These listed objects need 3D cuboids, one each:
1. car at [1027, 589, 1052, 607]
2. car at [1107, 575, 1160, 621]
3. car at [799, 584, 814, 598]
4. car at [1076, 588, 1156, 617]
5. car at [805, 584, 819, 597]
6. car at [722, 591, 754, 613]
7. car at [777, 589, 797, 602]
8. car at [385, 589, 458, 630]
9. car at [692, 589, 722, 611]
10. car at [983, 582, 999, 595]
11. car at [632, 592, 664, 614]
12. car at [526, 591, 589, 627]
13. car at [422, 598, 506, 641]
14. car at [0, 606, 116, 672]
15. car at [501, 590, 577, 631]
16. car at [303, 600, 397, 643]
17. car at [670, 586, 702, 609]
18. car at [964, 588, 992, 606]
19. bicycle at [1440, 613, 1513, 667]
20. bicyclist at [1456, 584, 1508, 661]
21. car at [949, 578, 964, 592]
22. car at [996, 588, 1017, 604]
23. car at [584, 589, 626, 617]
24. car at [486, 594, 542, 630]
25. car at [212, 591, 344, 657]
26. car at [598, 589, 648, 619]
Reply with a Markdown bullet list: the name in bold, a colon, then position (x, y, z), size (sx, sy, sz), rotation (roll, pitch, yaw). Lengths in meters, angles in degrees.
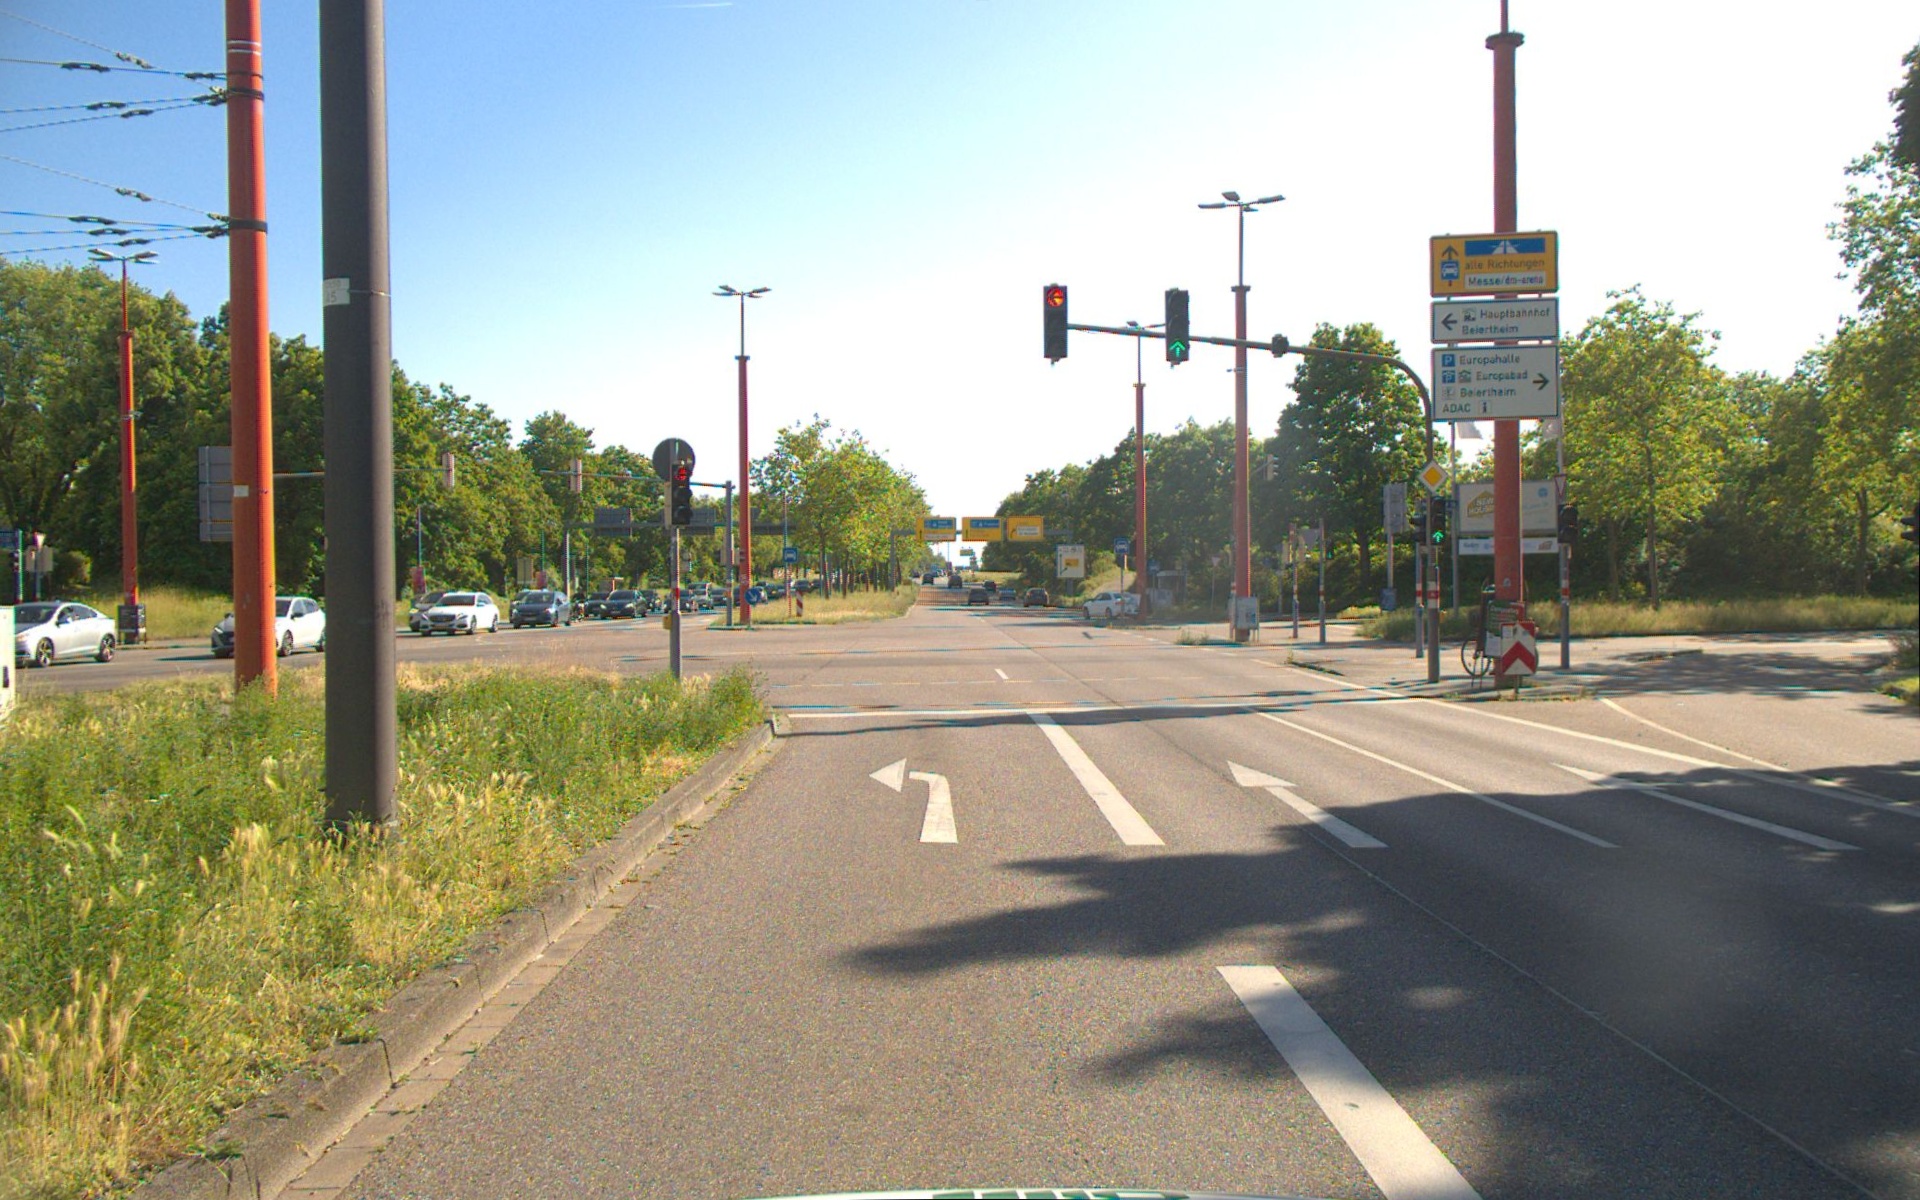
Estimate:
- **car**: position (6.129, -0.178, 127.356), size (1.702, 1.365, 3.081), rotation (0, 0, -1)
- **car**: position (7.419, -0.098, 70.513), size (1.951, 1.920, 4.004), rotation (0, 0, 10)
- **car**: position (-19.299, -1.152, 208.360), size (1.592, 1.769, 4.000), rotation (0, 0, 0)
- **car**: position (7.824, 0.102, 83.485), size (2.030, 1.395, 4.353), rotation (-1, 0, -27)
- **car**: position (-20.473, -1.309, 228.909), size (1.623, 1.778, 4.000), rotation (1, 0, 0)
- **car**: position (-15.576, 0.138, 116.146), size (1.666, 1.446, 3.999), rotation (3, 0, -1)
- **car**: position (-18.589, -0.502, 178.103), size (1.964, 1.330, 3.997), rotation (0, 0, -4)
- **car**: position (-22.236, 0.381, 68.430), size (1.838, 1.603, 3.998), rotation (1, 0, -2)
- **car**: position (-17.986, 0.000, 117.704), size (1.572, 1.485, 3.949), rotation (0, 0, -2)
- **car**: position (4.069, -1.517, 217.453), size (1.953, 1.567, 4.000), rotation (-2, 1, 0)
- **car**: position (-22.439, 0.211, 119.043), size (1.513, 1.458, 3.885), rotation (-2, 0, -1)
- **car**: position (-18.880, 0.395, 77.737), size (1.800, 1.629, 4.438), rotation (-1, 0, 1)
- **car**: position (-17.544, 0.668, 58.698), size (1.669, 1.448, 4.642), rotation (-1, 0, -1)
- **car**: position (-21.196, 0.844, 37.600), size (1.954, 1.398, 4.397), rotation (1, 0, -4)
- **car**: position (-17.662, 0.420, 69.607), size (1.952, 1.622, 4.464), rotation (-1, 0, 1)
- **car**: position (-20.886, 0.718, 56.802), size (1.824, 1.365, 4.029), rotation (-1, 0, -2)
- **car**: position (-17.817, -0.170, 107.645), size (1.517, 1.401, 4.261), rotation (0, 0, -2)
- **car**: position (1.512, -0.263, 139.903), size (1.955, 1.523, 3.995), rotation (0, 0, -6)
- **bicycle**: position (9.306, 0.704, 29.757), size (0.549, 0.894, 2.160), rotation (-1, 0, 37)
- **bicyclist**: position (9.421, 0.392, 29.837), size (0.694, 1.365, 0.739), rotation (0, 0, 38)
- **car**: position (-0.517, -2.145, 240.960), size (2.111, 2.049, 3.999), rotation (-1, 0, -1)
- **car**: position (4.667, -0.420, 165.863), size (1.953, 1.567, 3.999), rotation (1, 0, -1)
- **car**: position (-21.472, 0.183, 100.144), size (1.838, 1.603, 3.998), rotation (1, 0, -2)
- **car**: position (-22.712, 0.600, 84.319), size (1.764, 1.737, 4.059), rotation (-1, 0, -1)
- **car**: position (-17.296, 0.571, 42.139), size (1.556, 1.498, 4.183), rotation (-2, 1, 0)
- **car**: position (-17.644, 0.190, 86.845), size (1.838, 1.511, 4.603), rotation (1, 0, -2)
